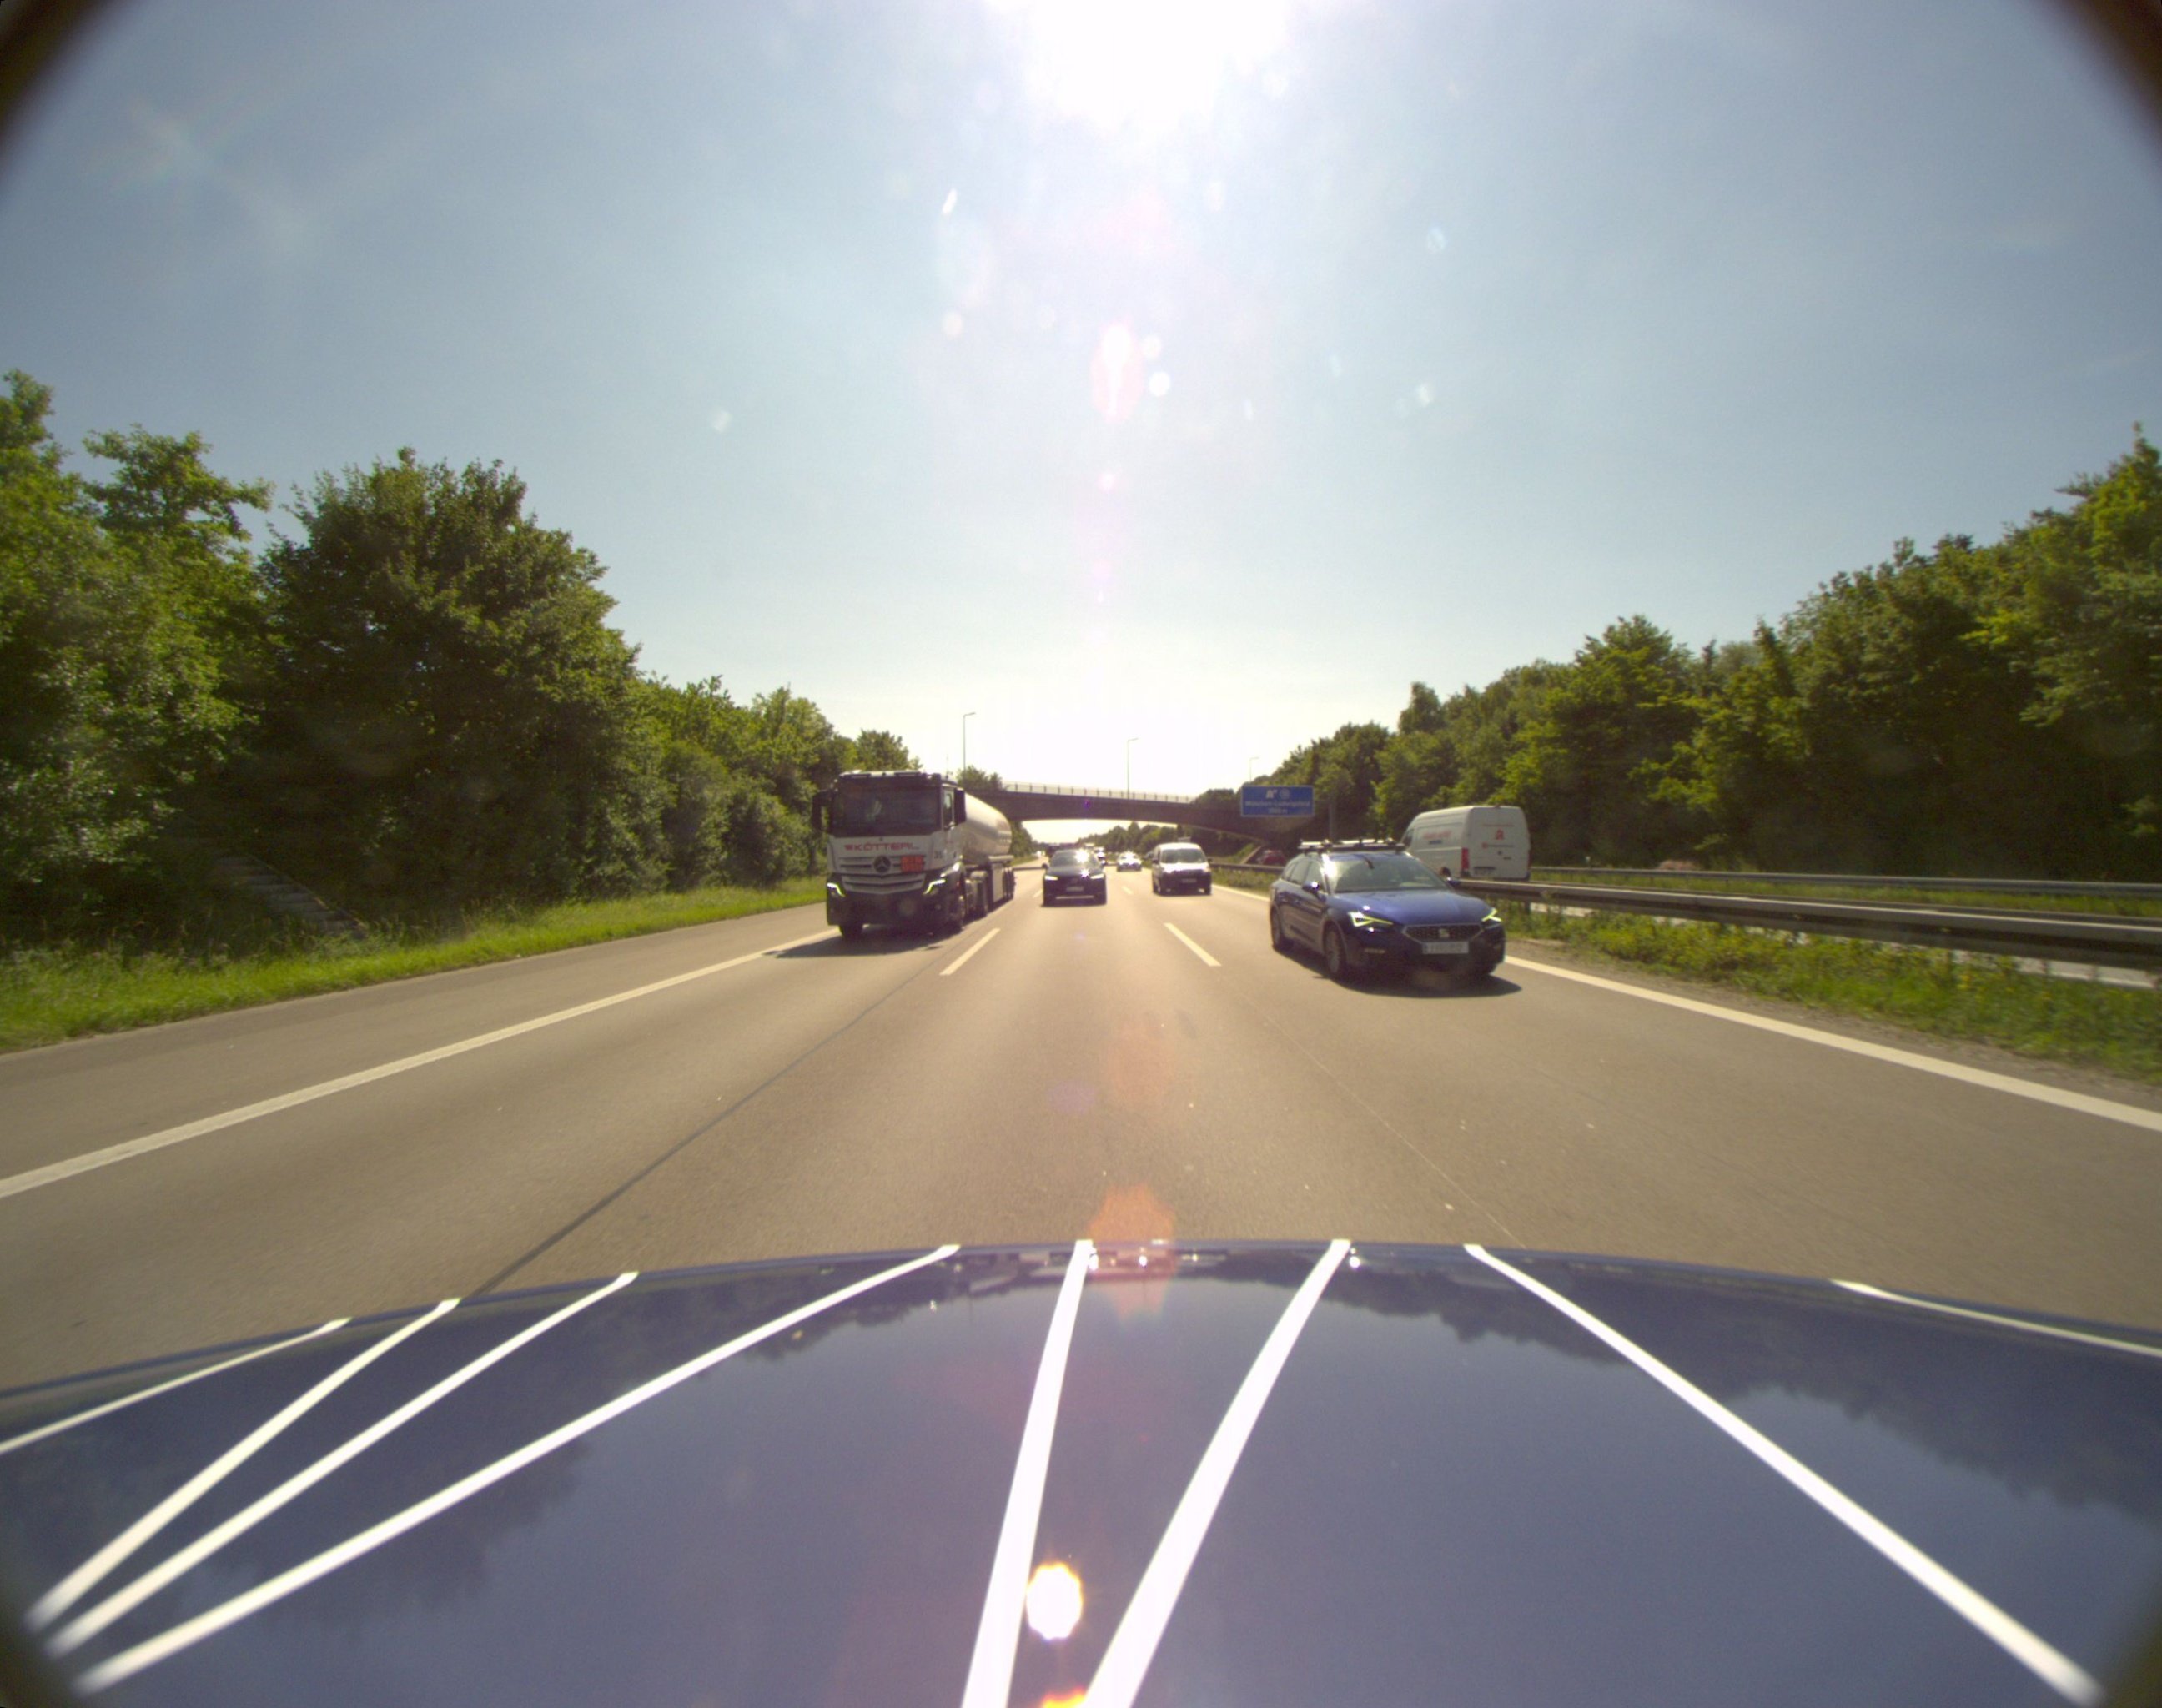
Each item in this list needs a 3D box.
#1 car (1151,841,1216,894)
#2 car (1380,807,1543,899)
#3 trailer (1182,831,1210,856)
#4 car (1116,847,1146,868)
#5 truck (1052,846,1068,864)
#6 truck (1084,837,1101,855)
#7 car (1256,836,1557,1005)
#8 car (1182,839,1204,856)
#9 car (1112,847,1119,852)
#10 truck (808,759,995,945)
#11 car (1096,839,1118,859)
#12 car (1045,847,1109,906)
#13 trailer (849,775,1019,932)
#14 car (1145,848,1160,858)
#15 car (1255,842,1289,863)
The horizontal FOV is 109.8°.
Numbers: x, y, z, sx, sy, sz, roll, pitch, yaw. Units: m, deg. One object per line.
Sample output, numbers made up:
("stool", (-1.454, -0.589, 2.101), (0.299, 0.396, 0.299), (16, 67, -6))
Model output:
("car", (3.603, 0.419, 27.313), (1.870, 1.713, 3.980), (-1, 2, 1))
("car", (11.858, -0.057, 24.374), (2.075, 2.541, 6.400), (-1, 1, 0))
("trailer", (19.935, -1.808, 132.913), (2.792, 4.017, 13.545), (1, 0, 0))
("car", (3.917, 0.283, 60.577), (1.999, 1.540, 3.998), (-1, 1, -2))
("truck", (-4.137, 0.078, 147.807), (2.966, 3.388, 8.044), (0, 1, -3))
("truck", (2.399, -1.669, 160.604), (3.243, 3.684, 10.932), (0, 1, -1))
("car", (3.720, 0.647, 9.646), (1.905, 1.616, 4.239), (-2, 0, -1))
("car", (15.324, -0.983, 104.328), (1.998, 2.222, 6.515), (-1, 1, 0))
("car", (9.885, -1.359, 216.745), (1.687, 1.473, 4.347), (-1, 0, 0))
("truck", (-3.691, -0.055, 17.303), (2.645, 3.355, 6.486), (-2, 1, -1))
("car", (4.214, -0.832, 125.564), (3.243, 3.094, 7.602), (0, 1, -1))
("car", (-0.174, 0.650, 24.069), (1.812, 1.648, 3.999), (-2, 0, -2))
("trailer", (-3.675, -0.060, 22.264), (2.655, 3.370, 11.150), (-2, 1, 0))
("car", (11.304, -0.232, 120.422), (1.909, 1.526, 3.999), (0, 1, 0))
("car", (15.957, -0.188, 63.629), (1.867, 1.620, 4.320), (-1, 1, 2))
